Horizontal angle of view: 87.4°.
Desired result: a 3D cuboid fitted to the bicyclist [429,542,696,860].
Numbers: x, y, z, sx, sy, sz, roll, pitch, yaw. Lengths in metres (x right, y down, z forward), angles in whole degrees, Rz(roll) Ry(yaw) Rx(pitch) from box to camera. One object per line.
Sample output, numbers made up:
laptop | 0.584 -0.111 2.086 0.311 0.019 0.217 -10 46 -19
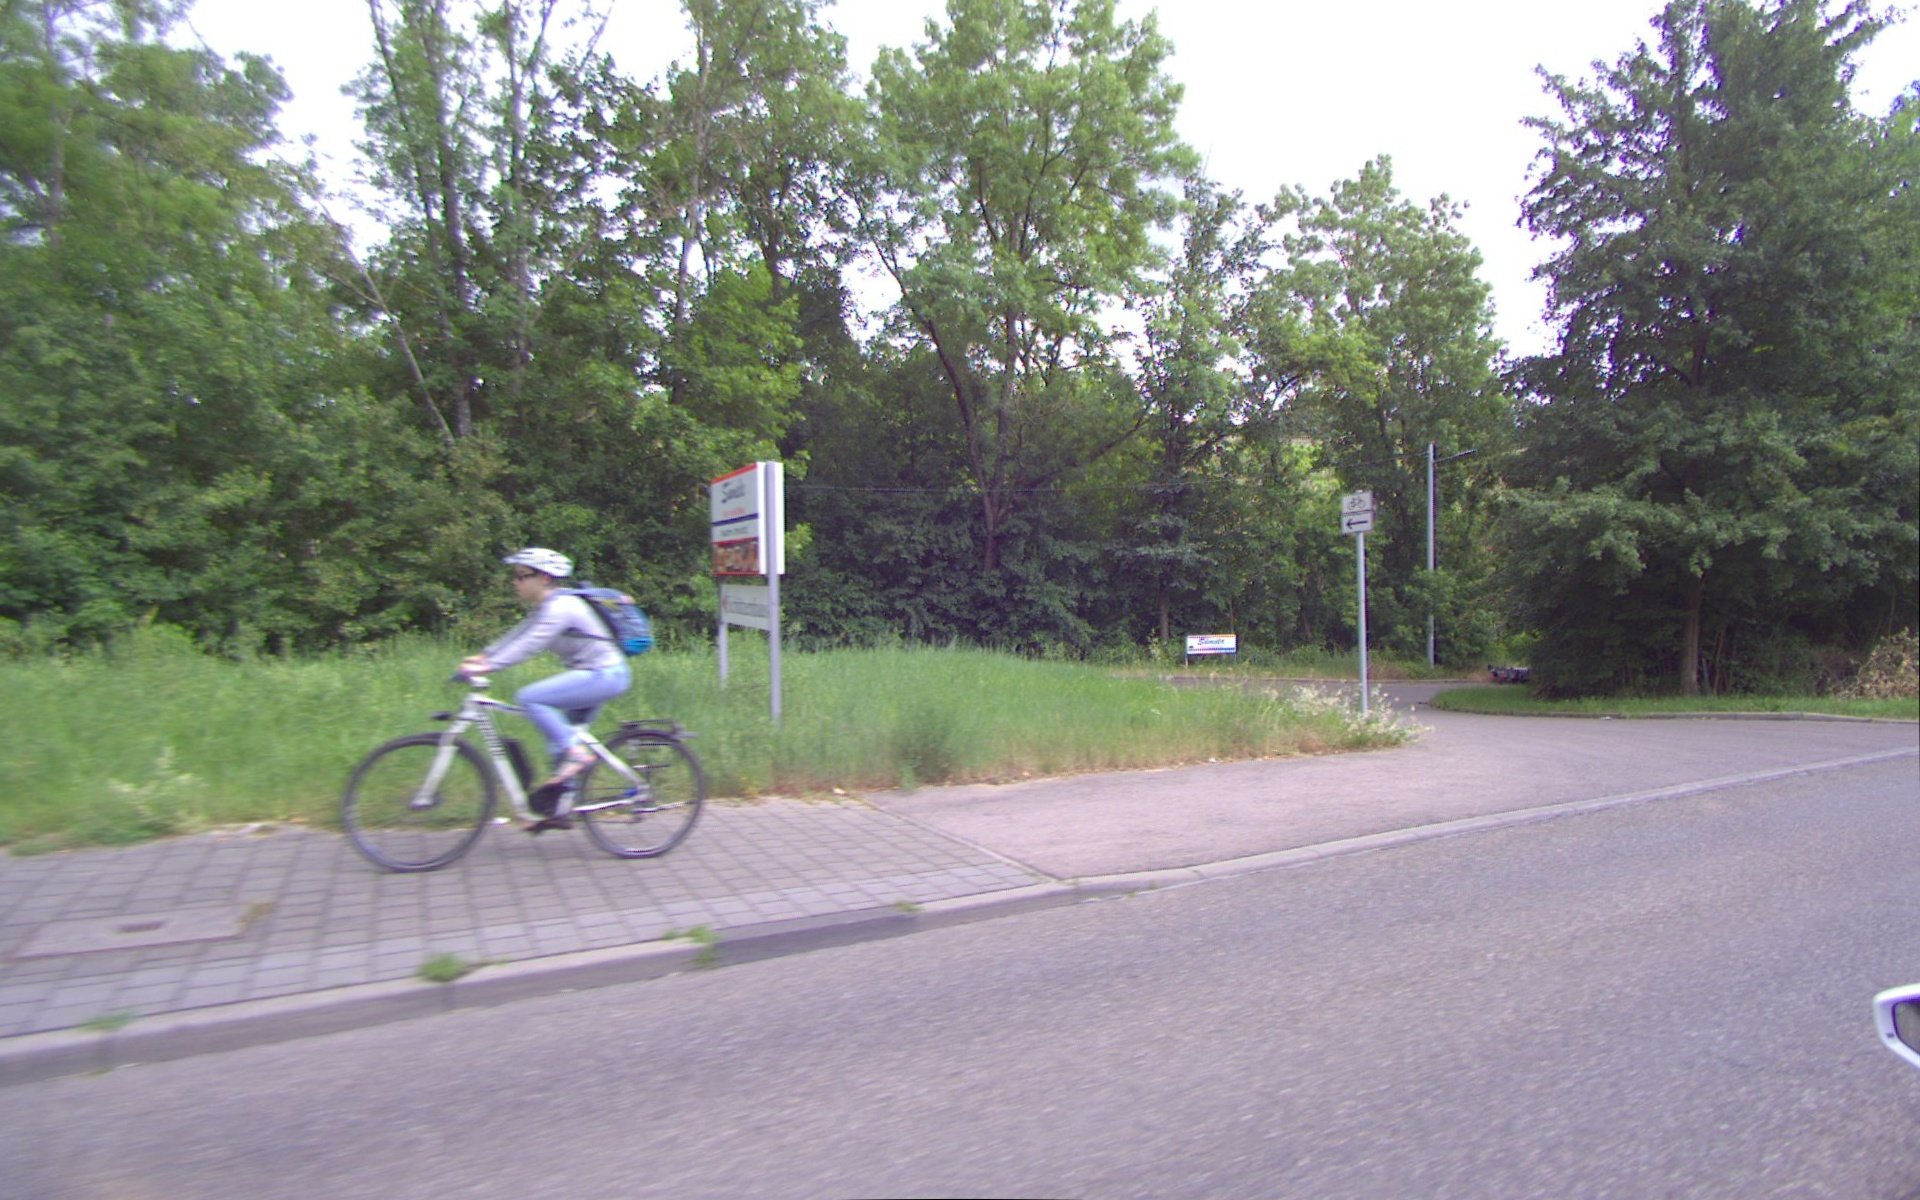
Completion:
bicyclist | -2.142 0.496 5.437 1.254 1.540 0.663 1 0 -27

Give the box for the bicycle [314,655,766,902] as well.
bicycle | -2.182 0.870 5.424 2.118 1.088 0.663 1 0 -27
